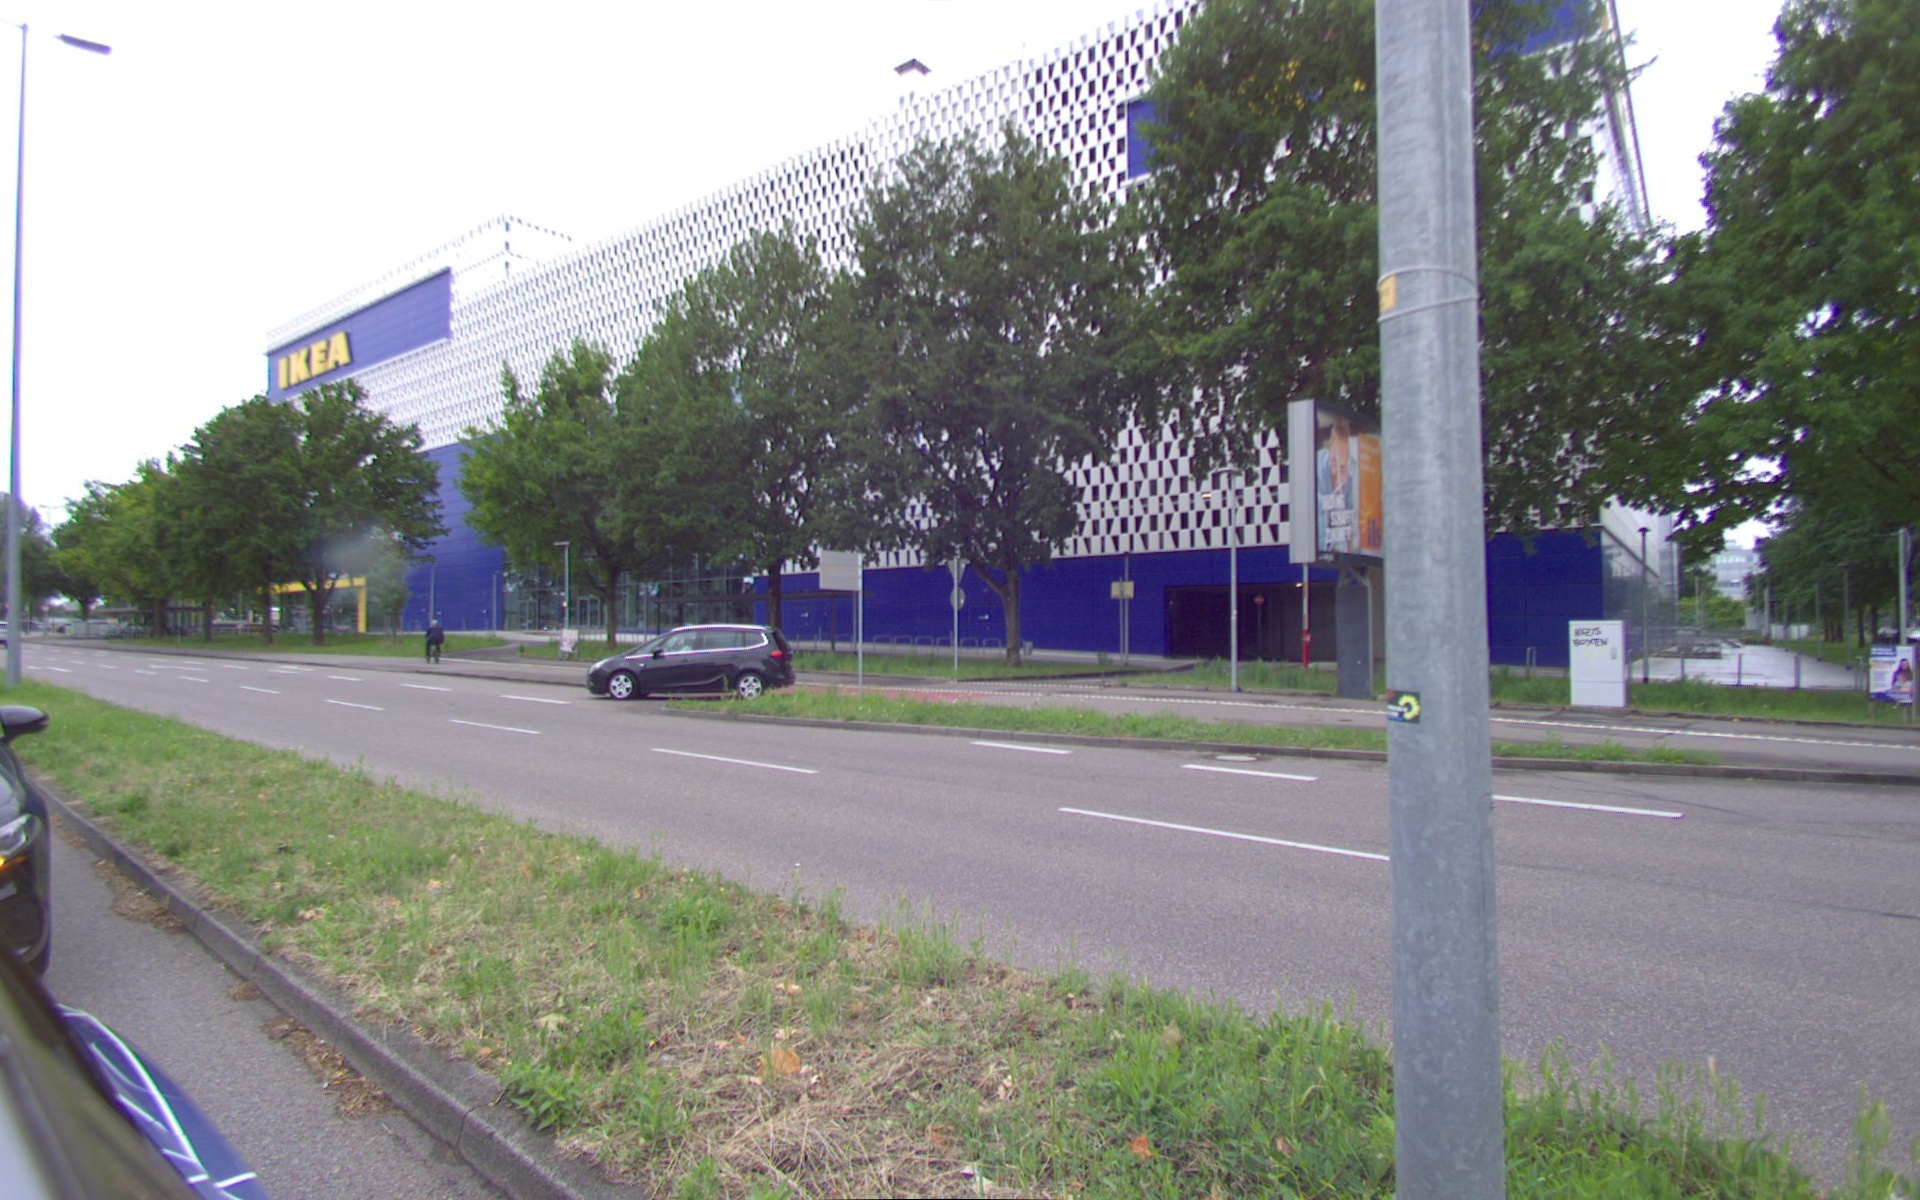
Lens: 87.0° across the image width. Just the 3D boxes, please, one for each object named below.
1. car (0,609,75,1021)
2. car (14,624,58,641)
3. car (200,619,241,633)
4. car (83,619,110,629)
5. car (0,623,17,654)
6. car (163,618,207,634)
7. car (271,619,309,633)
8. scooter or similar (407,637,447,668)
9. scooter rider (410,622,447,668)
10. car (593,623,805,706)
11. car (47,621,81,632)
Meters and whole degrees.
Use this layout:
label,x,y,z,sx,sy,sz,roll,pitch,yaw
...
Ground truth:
label,x,y,z,sx,sy,sz,roll,pitch,yaw
car,-5.431,0.827,4.408,4.194,1.445,1.835,-2,-1,41
car,-118.476,4.140,129.740,1.998,2.029,3.948,-1,0,38
car,-97.959,3.446,134.157,1.994,1.829,3.956,-1,0,33
car,-158.353,4.345,185.660,1.741,1.652,3.522,-1,0,37
car,-60.490,2.396,63.222,3.921,1.900,1.824,-1,0,39
car,-86.321,2.885,112.747,1.741,1.652,3.522,-1,0,37
car,-93.346,3.583,140.955,1.994,1.829,3.956,-1,0,33
scooter or similar,-20.528,2.015,38.958,1.417,1.134,0.585,-1,2,24
scooter rider,-20.486,1.736,39.013,1.033,1.733,0.791,-1,-1,24
car,-5.697,1.428,22.553,4.295,1.668,1.850,2,-3,-5
car,-161.090,4.736,181.977,1.741,1.837,4.239,-1,0,37
